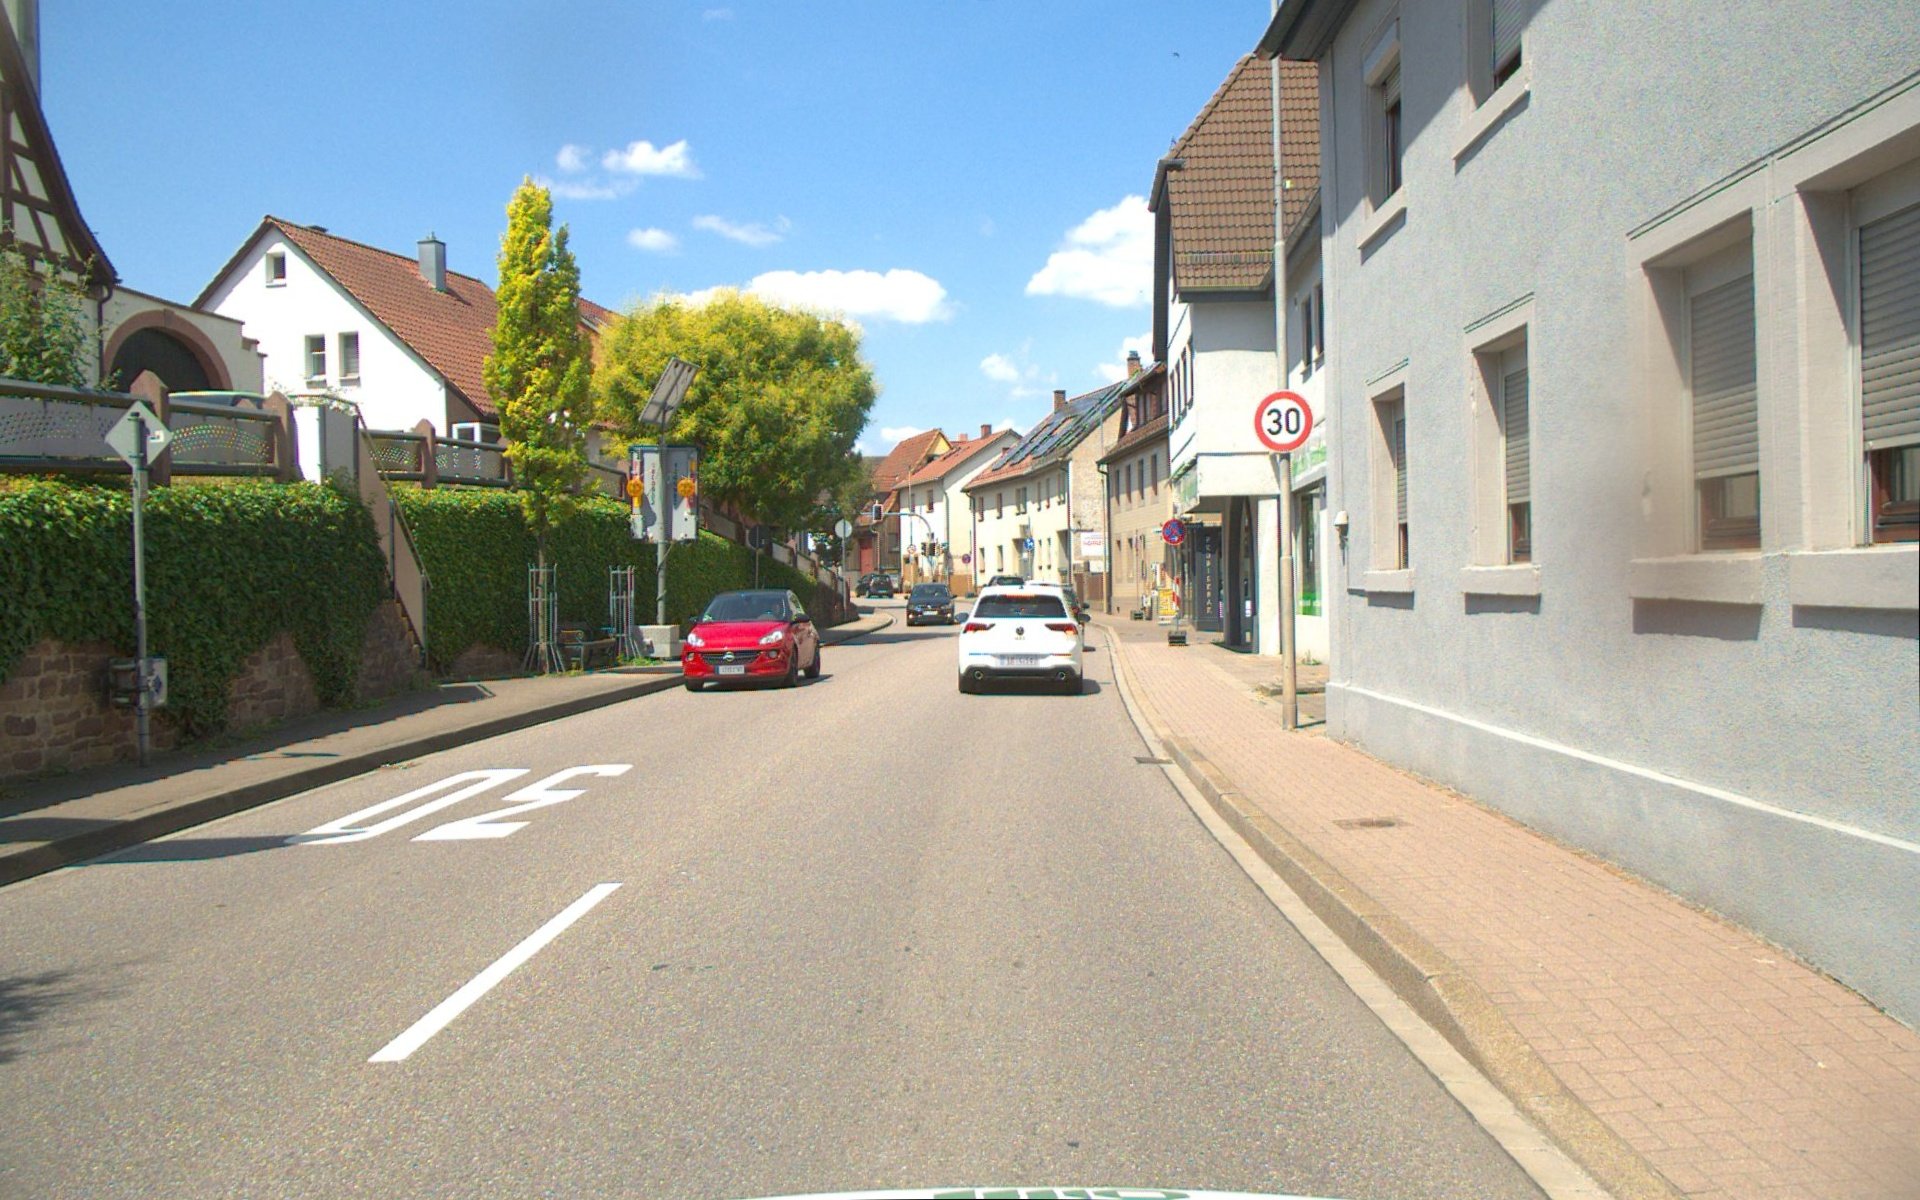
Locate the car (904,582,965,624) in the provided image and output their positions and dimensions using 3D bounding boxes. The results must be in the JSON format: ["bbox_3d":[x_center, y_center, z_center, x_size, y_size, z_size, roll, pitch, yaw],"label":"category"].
[{"bbox_3d":[-0.856,0.069,57.662,1.756,1.401,4.119,0,1,4],"label":"car"}]

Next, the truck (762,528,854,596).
[{"bbox_3d":[-9.747,-2.339,104.995,2.614,4.099,9.110,-1,1,-27],"label":"truck"}]

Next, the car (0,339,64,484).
[{"bbox_3d":[-9.960,-1.727,15.145,1.545,1.385,3.856,0,6,-4],"label":"car"}]

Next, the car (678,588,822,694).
[{"bbox_3d":[-3.214,0.586,25.968,1.583,1.469,3.803,-2,1,2],"label":"car"}]

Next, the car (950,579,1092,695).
[{"bbox_3d":[0.796,0.483,23.871,1.771,1.493,3.999,1,0,-2],"label":"car"}]

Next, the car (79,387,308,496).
[{"bbox_3d":[-10.526,-2.232,23.021,1.545,1.385,3.856,0,6,-4],"label":"car"}]

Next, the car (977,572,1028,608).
[{"bbox_3d":[1.860,-0.448,73.377,1.741,1.565,3.995,-1,1,-6],"label":"car"}]

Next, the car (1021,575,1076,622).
[{"bbox_3d":[2.980,-0.050,55.815,1.770,1.493,4.002,1,0,3],"label":"car"}]

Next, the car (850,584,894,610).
[{"bbox_3d":[-5.450,-0.219,102.406,1.748,1.565,3.980,-1,1,-18],"label":"car"}]
